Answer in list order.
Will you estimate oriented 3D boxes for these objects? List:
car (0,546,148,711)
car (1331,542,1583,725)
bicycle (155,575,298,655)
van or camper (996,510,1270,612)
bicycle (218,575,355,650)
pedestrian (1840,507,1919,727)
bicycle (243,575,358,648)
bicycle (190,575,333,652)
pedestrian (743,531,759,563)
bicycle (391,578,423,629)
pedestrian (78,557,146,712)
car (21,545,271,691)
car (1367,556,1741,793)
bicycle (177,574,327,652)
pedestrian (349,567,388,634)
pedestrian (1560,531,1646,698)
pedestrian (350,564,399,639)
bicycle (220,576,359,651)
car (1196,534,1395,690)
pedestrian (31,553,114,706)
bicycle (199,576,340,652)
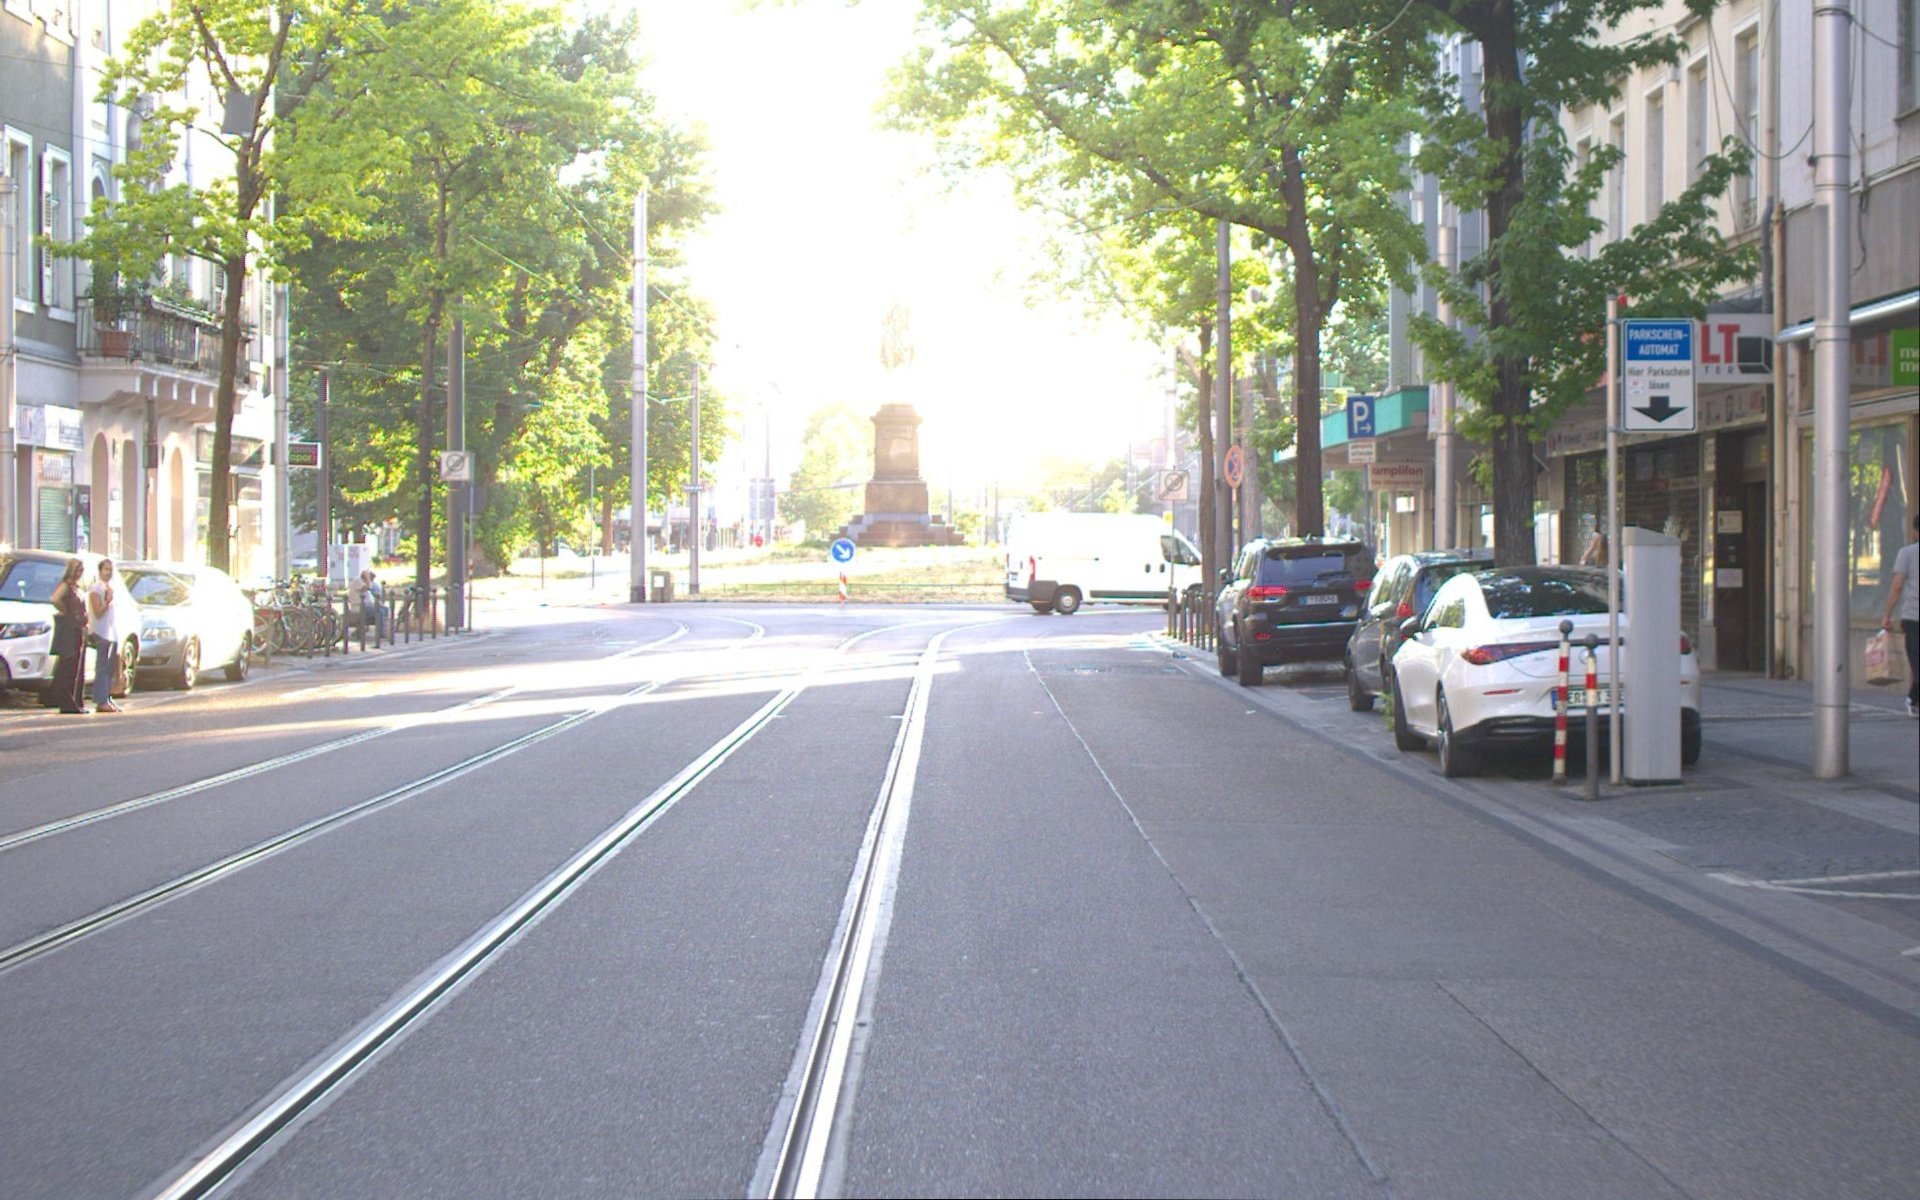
[{"bbox_3d":[-10.225,0.254,37.097,1.836,1.575,4.116,4,1,0],"label":"car"},{"bbox_3d":[4.794,0.281,33.676,1.776,1.585,3.892,-3,1,-1],"label":"car"},{"bbox_3d":[-10.753,0.223,50.427,1.945,1.101,0.567,2,0,-25],"label":"bicycle"},{"bbox_3d":[4.275,-0.985,85.314,6.297,2.464,2.617,0,1,-14],"label":"van or camper"},{"bbox_3d":[-10.586,0.193,54.045,2.024,1.101,0.501,2,0,3],"label":"bicycle"},{"bbox_3d":[7.774,0.120,28.067,0.858,1.747,0.933,-3,1,0],"label":"pedestrian"},{"bbox_3d":[-10.540,0.174,54.916,2.028,1.101,0.500,2,0,35],"label":"bicycle"},{"bbox_3d":[-10.556,0.204,51.979,2.023,1.101,0.501,2,0,-25],"label":"bicycle"},{"bbox_3d":[-10.461,-2.682,172.361,0.769,1.600,0.638,0,1,-6],"label":"pedestrian"},{"bbox_3d":[-10.558,0.065,65.646,0.336,0.942,1.510,0,1,1],"label":"bicycle"},{"bbox_3d":[-8.604,0.349,34.898,0.521,1.564,0.634,0,0,1],"label":"pedestrian"},{"bbox_3d":[-9.927,0.176,42.294,1.836,1.575,4.702,4,1,0],"label":"car"},{"bbox_3d":[4.361,0.485,25.963,1.993,1.493,4.680,-3,1,1],"label":"car"},{"bbox_3d":[-10.570,0.204,51.354,2.108,1.101,0.501,2,0,-25],"label":"bicycle"},{"bbox_3d":[-10.664,0.005,61.982,0.591,1.190,0.642,1,1,-2],"label":"pedestrian"},{"bbox_3d":[6.587,0.142,35.240,0.643,1.664,0.786,-3,1,0],"label":"pedestrian"},{"bbox_3d":[-10.280,0.016,60.338,0.728,1.286,0.857,1,1,-2],"label":"pedestrian"},{"bbox_3d":[-10.424,0.206,53.458,2.024,1.101,0.501,2,0,3],"label":"bicycle"},{"bbox_3d":[4.171,0.108,43.443,1.938,1.753,4.680,-3,1,0],"label":"car"},{"bbox_3d":[-8.812,0.290,34.141,0.620,1.504,0.729,0,0,1],"label":"pedestrian"},{"bbox_3d":[-10.563,0.221,52.580,2.023,1.101,0.501,2,0,-25],"label":"bicycle"}]
